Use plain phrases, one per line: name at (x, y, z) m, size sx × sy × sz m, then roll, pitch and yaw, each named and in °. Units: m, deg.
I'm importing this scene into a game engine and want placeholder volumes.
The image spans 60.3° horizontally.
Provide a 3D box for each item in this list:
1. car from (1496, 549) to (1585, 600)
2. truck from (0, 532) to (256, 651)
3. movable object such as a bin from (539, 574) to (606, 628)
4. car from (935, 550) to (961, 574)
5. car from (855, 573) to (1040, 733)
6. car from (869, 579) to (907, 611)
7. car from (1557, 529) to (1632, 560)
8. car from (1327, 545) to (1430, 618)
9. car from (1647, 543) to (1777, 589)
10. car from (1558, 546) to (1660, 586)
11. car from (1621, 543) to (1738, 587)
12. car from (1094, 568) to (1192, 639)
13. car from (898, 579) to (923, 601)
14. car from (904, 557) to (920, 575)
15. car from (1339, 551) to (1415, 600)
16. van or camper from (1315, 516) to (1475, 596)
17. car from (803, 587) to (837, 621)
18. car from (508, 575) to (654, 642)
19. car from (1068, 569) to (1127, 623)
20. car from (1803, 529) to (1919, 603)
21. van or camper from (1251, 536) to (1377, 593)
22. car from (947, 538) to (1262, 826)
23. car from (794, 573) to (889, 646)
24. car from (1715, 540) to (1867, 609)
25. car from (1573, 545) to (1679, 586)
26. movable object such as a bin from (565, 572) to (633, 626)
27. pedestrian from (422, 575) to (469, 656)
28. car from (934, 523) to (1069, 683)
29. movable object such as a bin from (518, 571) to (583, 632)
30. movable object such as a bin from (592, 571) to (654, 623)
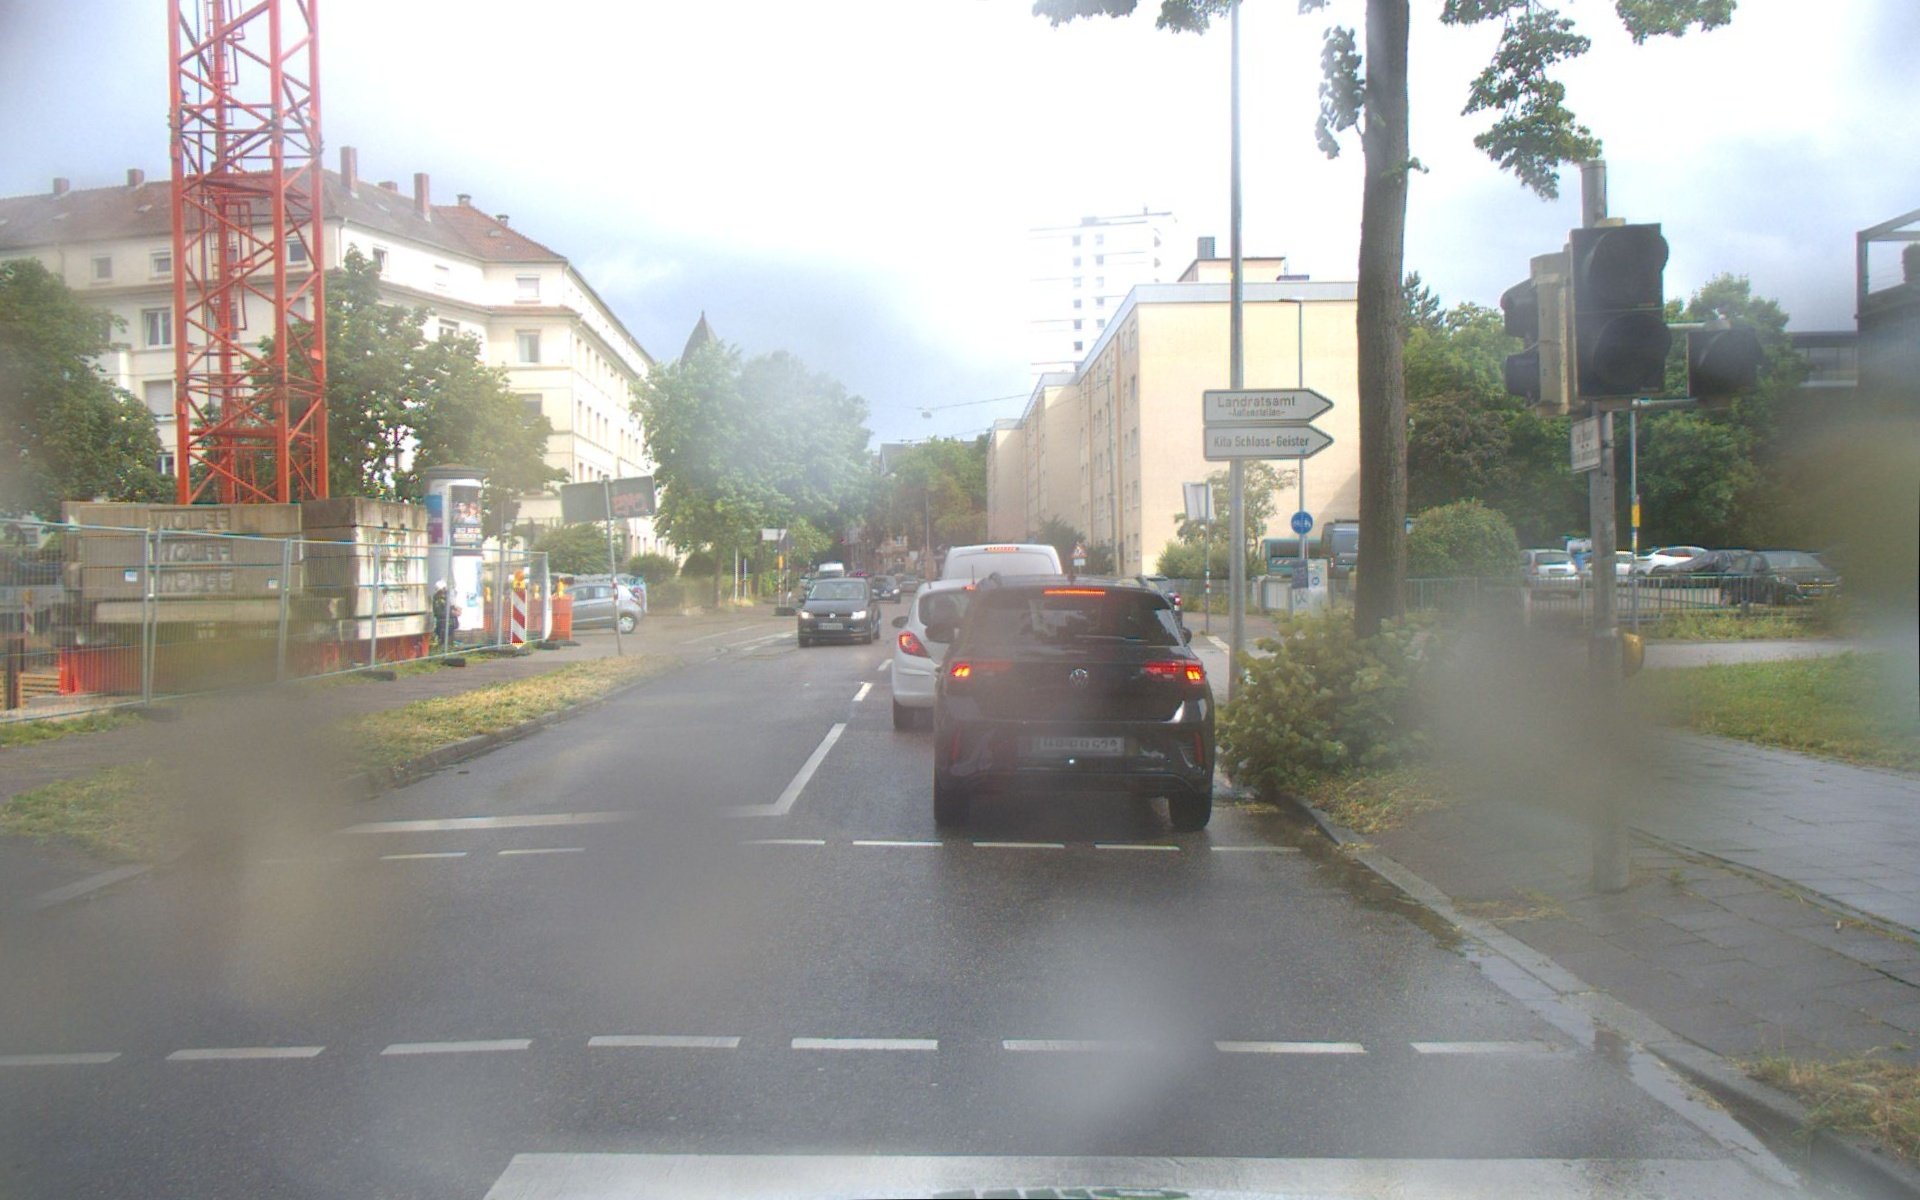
car at (18.322, -0.814, 52.382) m, size 1.614 × 1.512 × 3.720 m, roll -2°, pitch 1°, yaw 2°
truck at (-26.687, -0.216, 49.882) m, size 9.603 × 3.239 × 3.796 m, roll -2°, pitch 1°, yaw 13°
movable object such as a bin at (-12.572, 0.019, 53.733) m, size 1.505 × 1.685 × 1.529 m, roll -1°, pitch 1°, yaw 18°
car at (-0.868, -2.756, 120.446) m, size 1.803 × 1.636 × 3.676 m, roll -3°, pitch 1°, yaw 1°
car at (-0.131, 0.516, 18.050) m, size 1.776 × 1.529 × 4.000 m, roll 1°, pitch 0°, yaw 0°
car at (-3.920, -0.285, 90.540) m, size 1.803 × 1.636 × 4.001 m, roll -3°, pitch 1°, yaw 1°
car at (31.730, -2.782, 82.730) m, size 3.158 × 1.422 × 1.509 m, roll -2°, pitch 1°, yaw 3°
car at (11.127, -0.506, 44.211) m, size 1.766 × 1.780 × 4.239 m, roll -2°, pitch 1°, yaw 2°
car at (26.852, -1.220, 59.136) m, size 3.892 × 1.490 × 1.673 m, roll -2°, pitch 1°, yaw 1°
car at (27.117, -1.425, 69.169) m, size 3.590 × 1.512 × 1.640 m, roll -2°, pitch 1°, yaw 3°
car at (26.731, -1.308, 61.517) m, size 3.590 × 1.512 × 1.640 m, roll -2°, pitch 1°, yaw 3°
car at (4.501, 0.036, 41.154) m, size 1.738 × 1.566 × 4.377 m, roll -4°, pitch 1°, yaw -2°
car at (-3.894, -0.814, 130.002) m, size 1.705 × 1.636 × 3.676 m, roll -3°, pitch 1°, yaw 1°
car at (-5.295, -3.775, 183.319) m, size 1.632 × 1.869 × 3.998 m, roll -2°, pitch 1°, yaw -3°
car at (13.315, -0.781, 52.979) m, size 1.577 × 1.474 × 3.417 m, roll -2°, pitch 1°, yaw 1°
van or camper at (14.841, -1.487, 56.599) m, size 4.895 × 2.599 × 2.175 m, roll -1°, pitch 0°, yaw 1°
car at (-6.887, 0.170, 81.421) m, size 1.555 × 1.532 × 4.061 m, roll -2°, pitch 1°, yaw -5°
car at (-10.941, 0.247, 47.714) m, size 3.925 × 1.665 × 1.886 m, roll -3°, pitch 0°, yaw -18°
car at (4.349, -0.107, 52.629) m, size 1.720 × 1.554 × 4.001 m, roll 2°, pitch -1°, yaw 3°
car at (22.808, -0.856, 41.042) m, size 1.814 × 1.708 × 4.426 m, roll -2°, pitch 1°, yaw 5°
van or camper at (14.268, -1.453, 66.942) m, size 4.660 × 2.168 × 2.323 m, roll -1°, pitch 1°, yaw 3°
car at (0.839, 0.479, 11.777) m, size 1.835 × 1.674 × 4.061 m, roll 1°, pitch 0°, yaw -1°
car at (-2.632, 0.210, 37.543) m, size 1.776 × 1.567 × 3.982 m, roll 0°, pitch 0°, yaw 1°
car at (20.517, -0.636, 41.029) m, size 1.790 × 1.553 × 4.426 m, roll -2°, pitch 1°, yaw 4°
car at (26.879, -1.375, 66.842) m, size 3.590 × 1.512 × 1.640 m, roll -2°, pitch 1°, yaw 3°
movable object such as a bin at (-12.057, -0.040, 55.300) m, size 1.505 × 1.703 × 1.667 m, roll -1°, pitch 2°, yaw 18°
pedestrian at (-10.636, 0.314, 34.202) m, size 0.716 × 1.658 × 0.675 m, roll 1°, pitch 0°, yaw -38°
car at (0.605, 0.034, 24.368) m, size 1.798 × 2.139 × 4.001 m, roll 1°, pitch 0°, yaw 1°
movable object such as a bin at (-12.908, 0.048, 52.188) m, size 1.505 × 1.856 × 1.264 m, roll -1°, pitch 1°, yaw 19°
movable object such as a bin at (-11.571, -0.120, 56.821) m, size 1.505 × 1.690 × 1.460 m, roll -1°, pitch 1°, yaw 19°
